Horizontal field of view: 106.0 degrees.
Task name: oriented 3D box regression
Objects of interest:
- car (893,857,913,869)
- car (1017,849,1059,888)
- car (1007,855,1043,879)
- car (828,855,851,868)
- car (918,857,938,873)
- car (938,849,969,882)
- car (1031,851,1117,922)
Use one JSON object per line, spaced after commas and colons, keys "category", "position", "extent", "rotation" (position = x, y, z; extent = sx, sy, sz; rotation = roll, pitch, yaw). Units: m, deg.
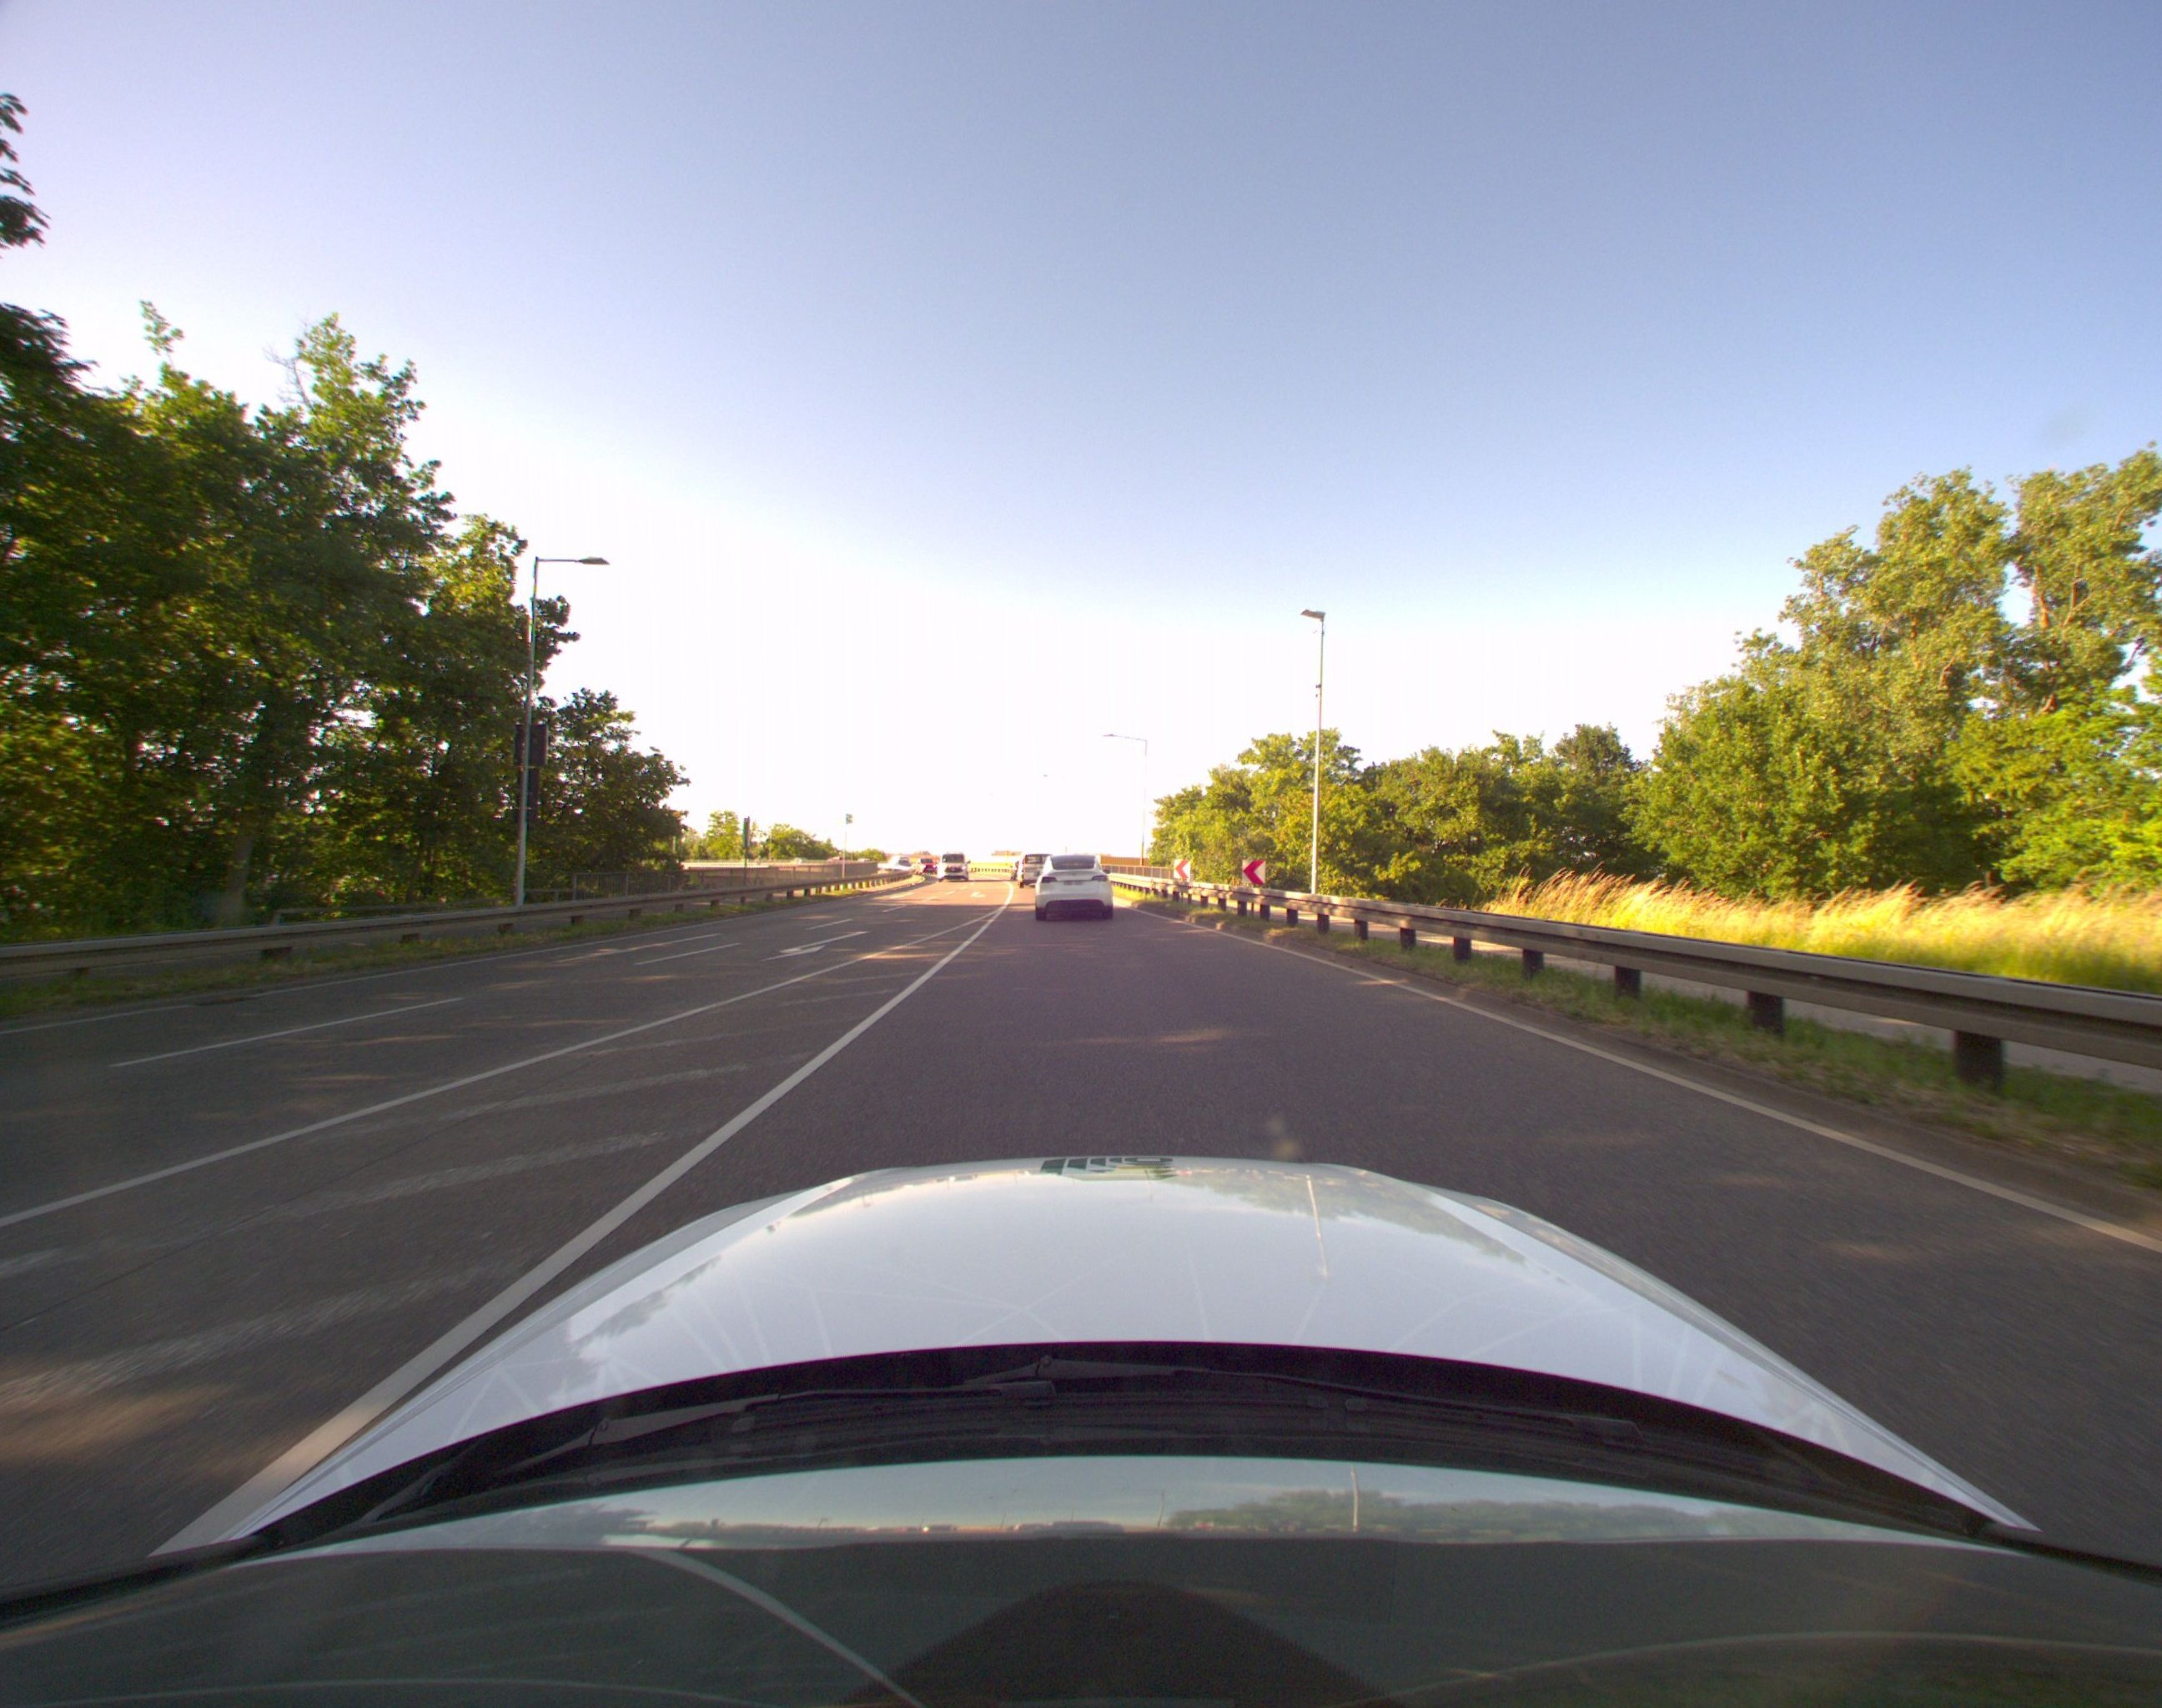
{"category": "car", "position": [-23.868, 1.214, 109.224], "extent": [1.844, 1.555, 3.861], "rotation": [0, 0, -25]}
{"category": "car", "position": [-2.348, 0.756, 43.748], "extent": [2.003, 1.940, 4.458], "rotation": [-1, 0, -6]}
{"category": "car", "position": [-4.011, 0.918, 58.086], "extent": [1.970, 1.638, 3.983], "rotation": [-1, 0, -12]}
{"category": "car", "position": [-38.448, 1.178, 129.657], "extent": [1.973, 1.950, 3.952], "rotation": [0, -1, -42]}
{"category": "car", "position": [-15.494, 1.100, 82.548], "extent": [1.806, 1.638, 3.981], "rotation": [0, 0, -14]}
{"category": "car", "position": [-8.602, 0.753, 55.468], "extent": [1.947, 2.112, 5.256], "rotation": [0, 0, -8]}
{"category": "car", "position": [-0.238, 0.775, 21.202], "extent": [1.980, 1.638, 4.059], "rotation": [-1, 0, -2]}
